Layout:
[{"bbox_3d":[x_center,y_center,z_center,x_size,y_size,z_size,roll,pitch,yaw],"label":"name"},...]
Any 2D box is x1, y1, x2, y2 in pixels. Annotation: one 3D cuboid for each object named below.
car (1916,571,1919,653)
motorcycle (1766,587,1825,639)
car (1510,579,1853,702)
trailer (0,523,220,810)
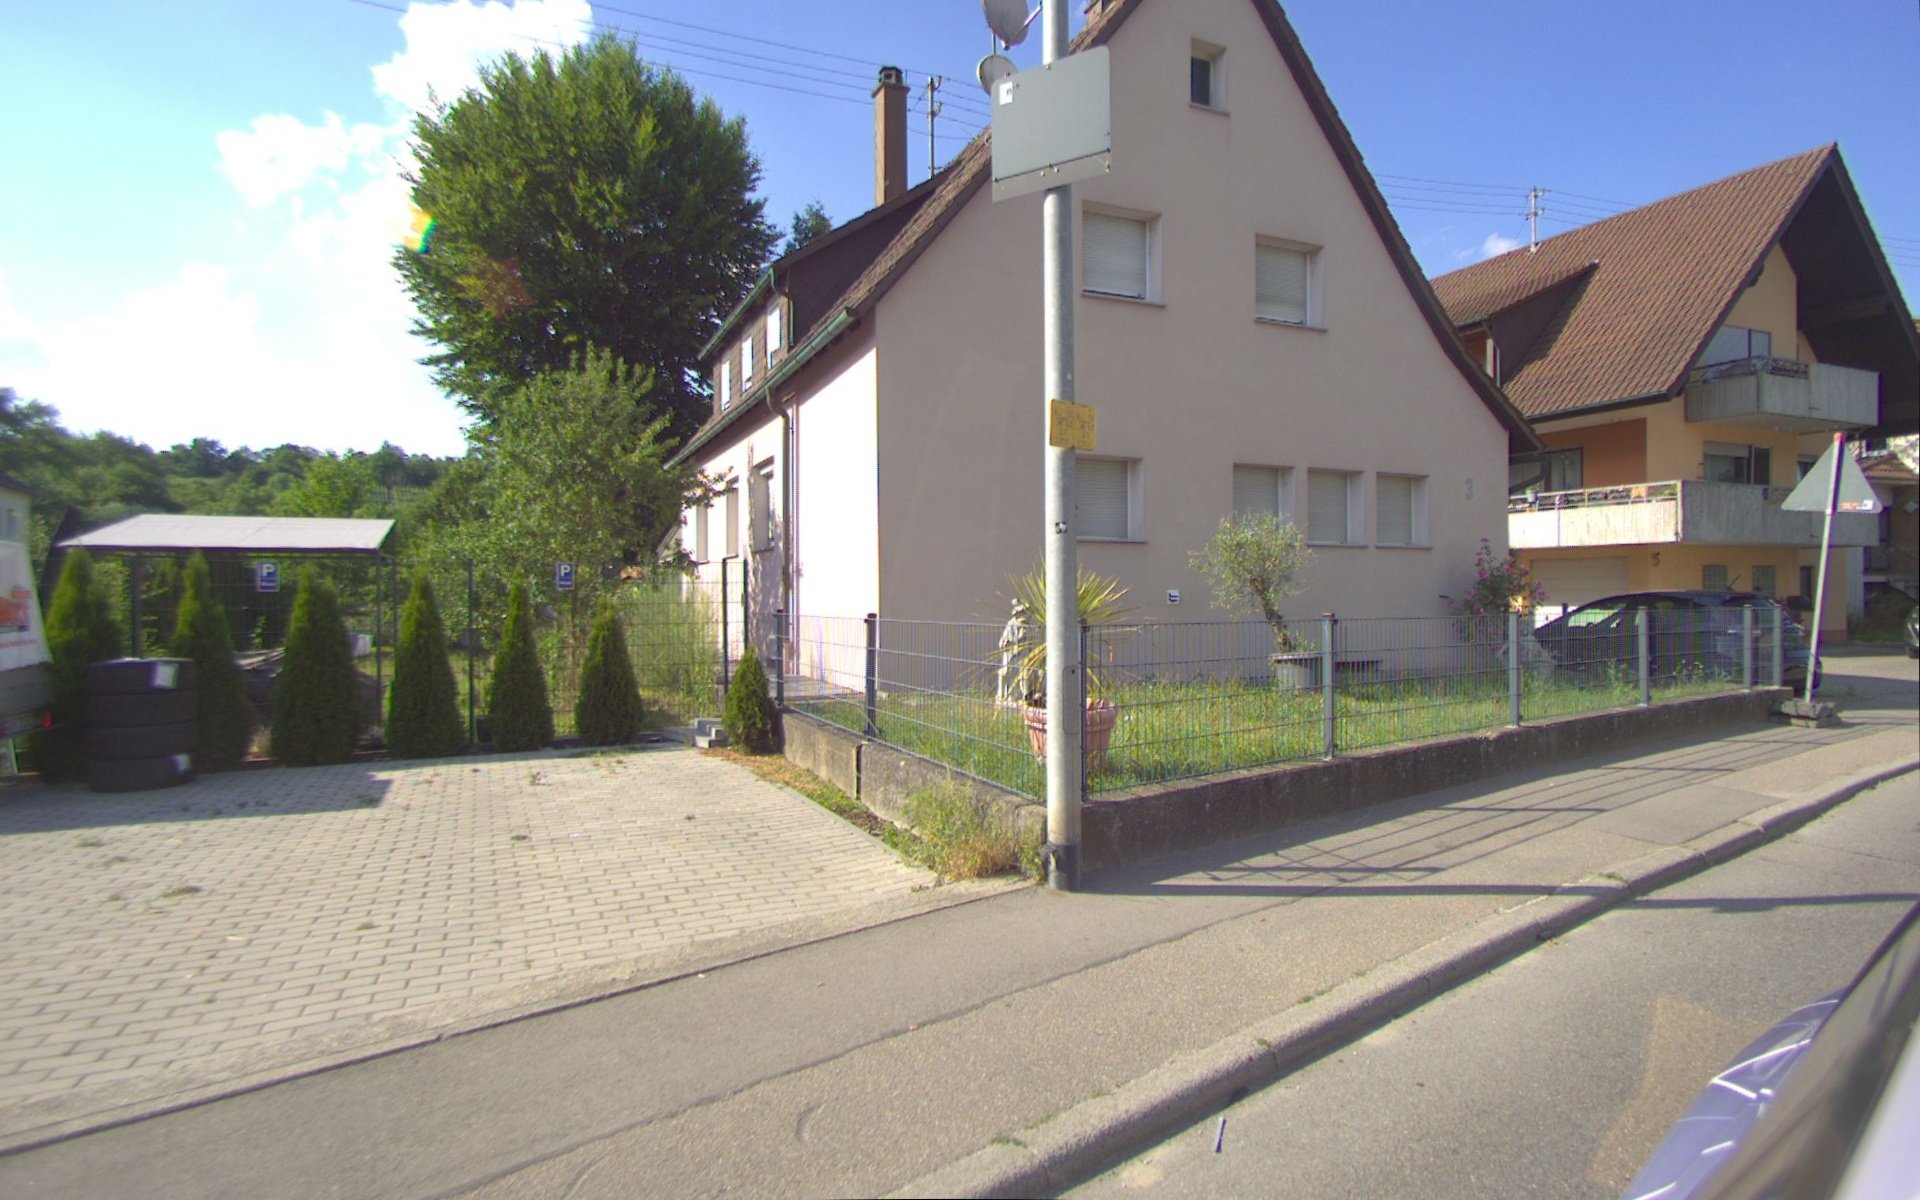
[{"bbox_3d":[20.129,0.146,19.396,3.727,1.535,1.649,-3,1,-31],"label":"car"},{"bbox_3d":[19.335,0.294,23.406,1.611,1.163,0.376,-1,0,-25],"label":"motorcycle"},{"bbox_3d":[9.765,0.483,14.048,1.406,1.453,3.707,-1,0,-21],"label":"car"},{"bbox_3d":[-6.966,0.420,6.644,3.151,1.774,1.528,-1,0,-25],"label":"trailer"}]
